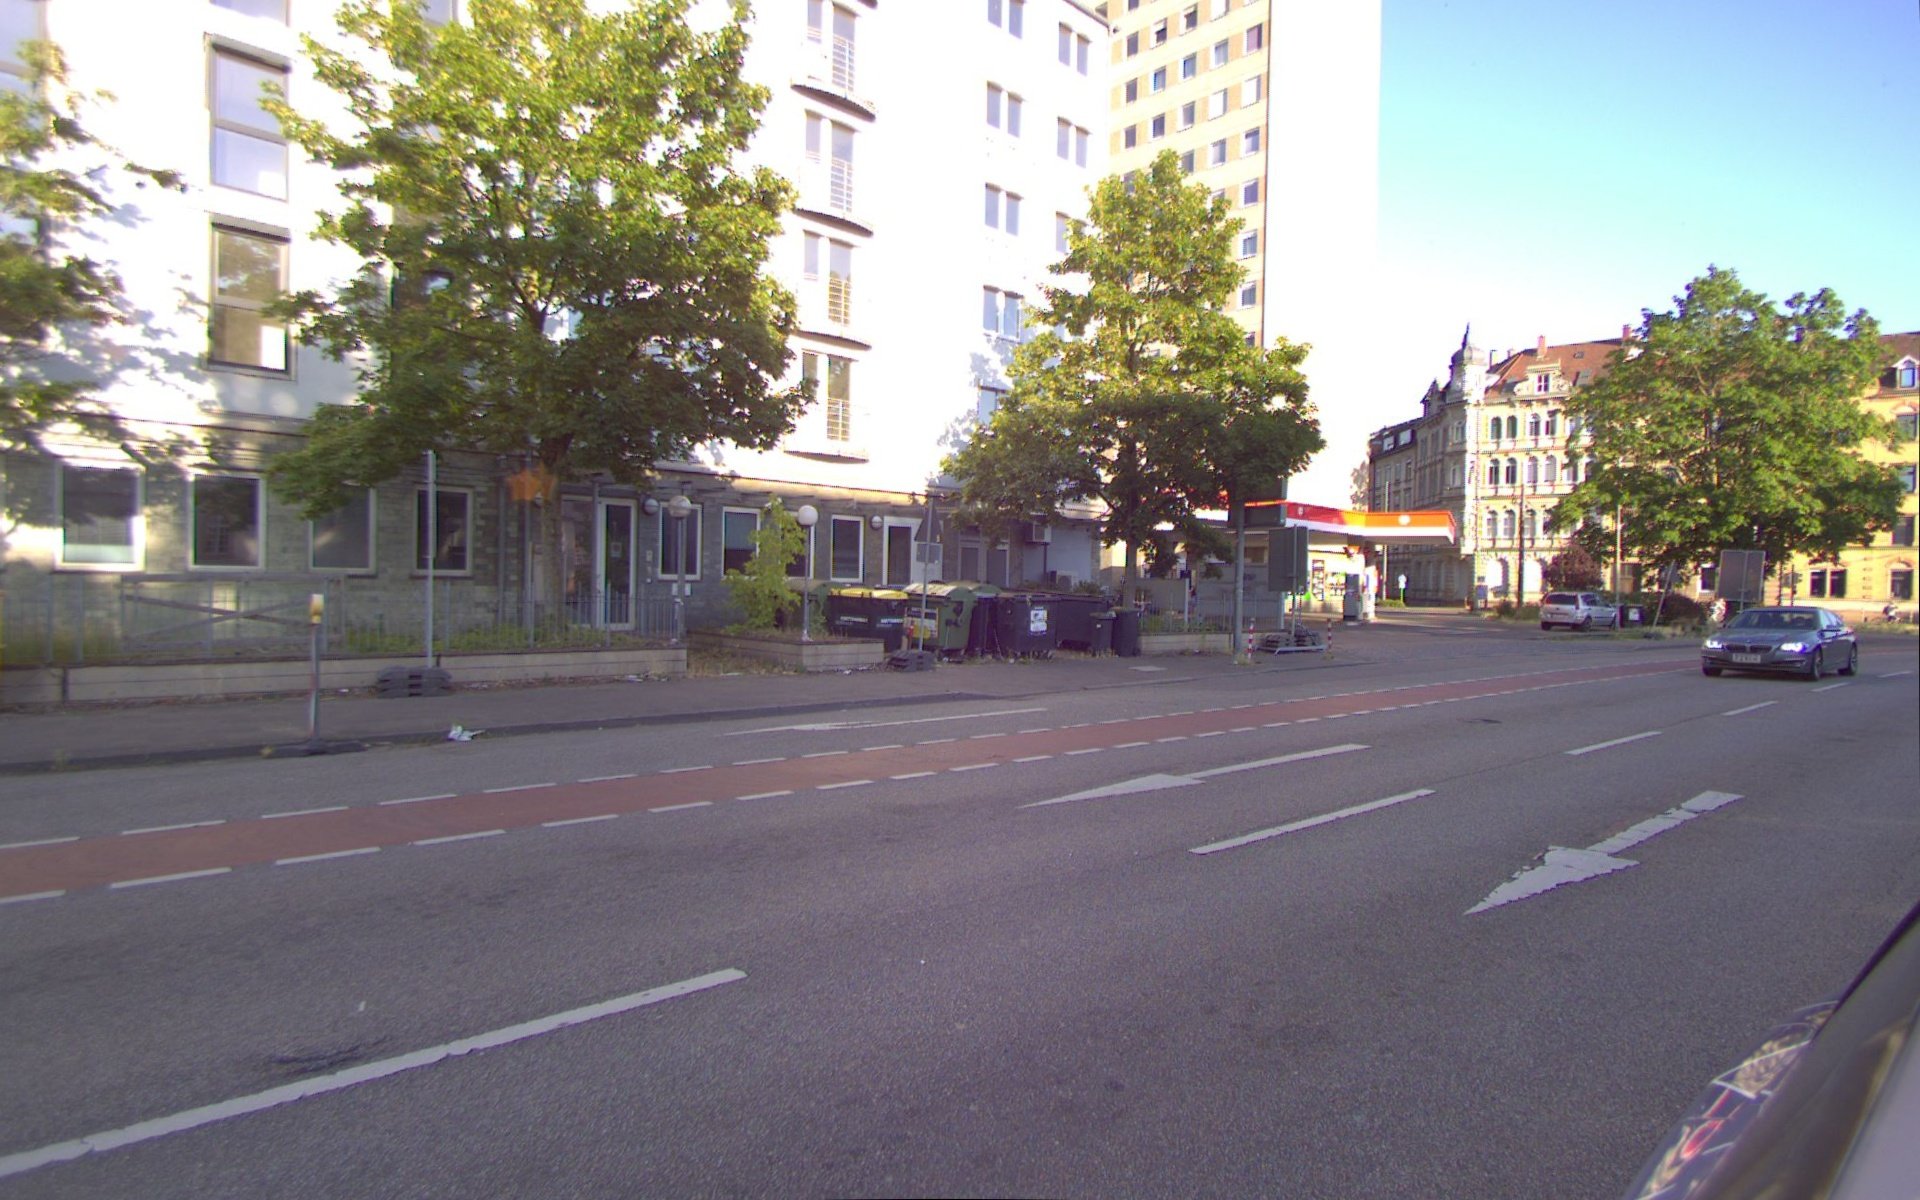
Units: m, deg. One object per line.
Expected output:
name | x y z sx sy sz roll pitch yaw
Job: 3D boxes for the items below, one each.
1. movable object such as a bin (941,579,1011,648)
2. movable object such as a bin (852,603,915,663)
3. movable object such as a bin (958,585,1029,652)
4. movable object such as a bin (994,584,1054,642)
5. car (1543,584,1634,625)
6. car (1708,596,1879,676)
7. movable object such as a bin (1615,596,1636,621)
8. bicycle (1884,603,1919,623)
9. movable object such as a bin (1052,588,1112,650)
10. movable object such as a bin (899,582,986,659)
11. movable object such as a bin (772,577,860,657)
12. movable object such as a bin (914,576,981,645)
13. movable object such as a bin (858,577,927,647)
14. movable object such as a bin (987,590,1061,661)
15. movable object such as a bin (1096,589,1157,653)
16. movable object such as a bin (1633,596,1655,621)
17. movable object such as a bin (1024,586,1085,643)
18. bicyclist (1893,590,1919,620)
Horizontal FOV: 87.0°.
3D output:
movable object such as a bin | 0.348 0.284 22.427 1.143 1.467 1.033 0 1 -43
movable object such as a bin | -1.416 0.591 18.709 0.851 1.058 0.806 2 1 45
movable object such as a bin | 0.705 0.366 21.298 1.143 1.345 0.954 0 1 -44
movable object such as a bin | 1.549 0.293 24.580 1.080 1.345 0.954 0 1 -43
car | 24.931 0.148 40.116 3.723 1.535 1.691 -1 2 -34
car | 17.398 0.672 21.052 4.581 1.467 1.819 0 0 -38
movable object such as a bin | 28.271 0.343 42.991 0.674 1.031 0.544 0 1 -36
bicycle | 52.934 0.739 56.514 1.921 1.072 0.444 2 1 43
movable object such as a bin | 2.758 0.413 22.875 0.938 1.345 0.954 0 1 -43
movable object such as a bin | -0.346 0.384 20.054 1.088 1.441 1.348 0 1 -45
movable object such as a bin | -2.802 0.301 19.641 1.088 1.479 1.348 0 1 -45
movable object such as a bin | -0.300 0.220 23.421 1.143 1.517 1.033 0 1 -43
movable object such as a bin | -1.517 0.257 22.860 1.143 1.517 1.033 0 1 -43
movable object such as a bin | 1.292 0.492 20.319 1.143 1.345 0.954 0 1 -44
movable object such as a bin | 3.686 0.445 22.407 0.938 1.345 0.954 0 1 -43
movable object such as a bin | 28.584 0.359 42.305 0.674 1.031 0.544 0 1 -36
movable object such as a bin | 2.228 0.324 23.851 1.080 1.299 0.954 0 1 -43
bicyclist | 52.933 0.272 56.627 1.062 1.669 0.721 2 1 43
